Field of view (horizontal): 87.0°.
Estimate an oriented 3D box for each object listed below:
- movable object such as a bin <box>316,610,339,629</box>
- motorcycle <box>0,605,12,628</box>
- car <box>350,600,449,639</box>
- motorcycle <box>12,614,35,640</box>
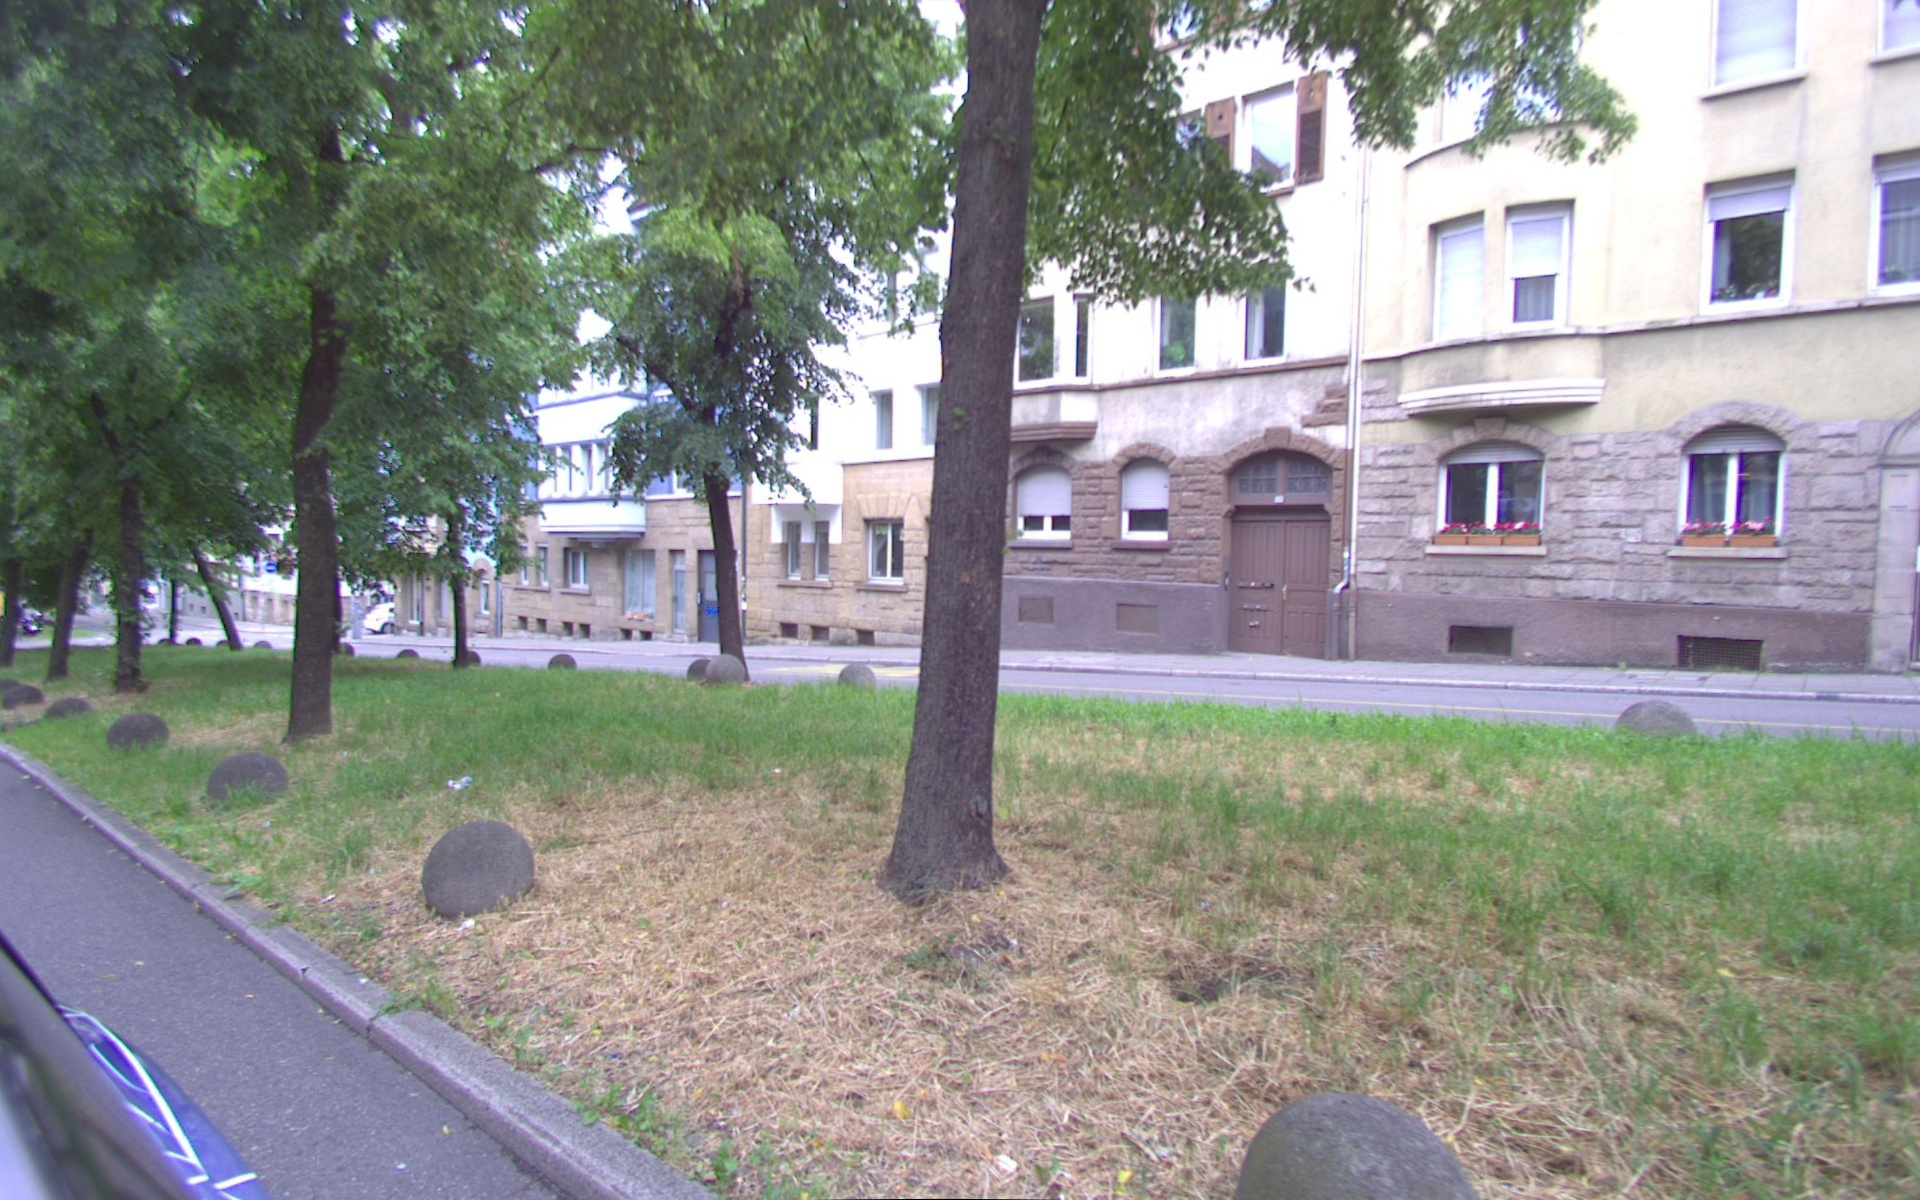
[{"bbox_3d":[-34.790,1.074,55.649,0.668,1.001,0.877,0,3,40],"label":"movable object such as a bin"},{"bbox_3d":[-65.182,1.085,67.801,0.963,1.494,2.392,3,2,41],"label":"motorcycle"},{"bbox_3d":[-28.590,0.974,51.699,1.869,1.480,3.960,2,7,38],"label":"car"},{"bbox_3d":[-44.645,1.274,48.264,0.740,1.081,1.854,-2,4,-42],"label":"motorcycle"}]
